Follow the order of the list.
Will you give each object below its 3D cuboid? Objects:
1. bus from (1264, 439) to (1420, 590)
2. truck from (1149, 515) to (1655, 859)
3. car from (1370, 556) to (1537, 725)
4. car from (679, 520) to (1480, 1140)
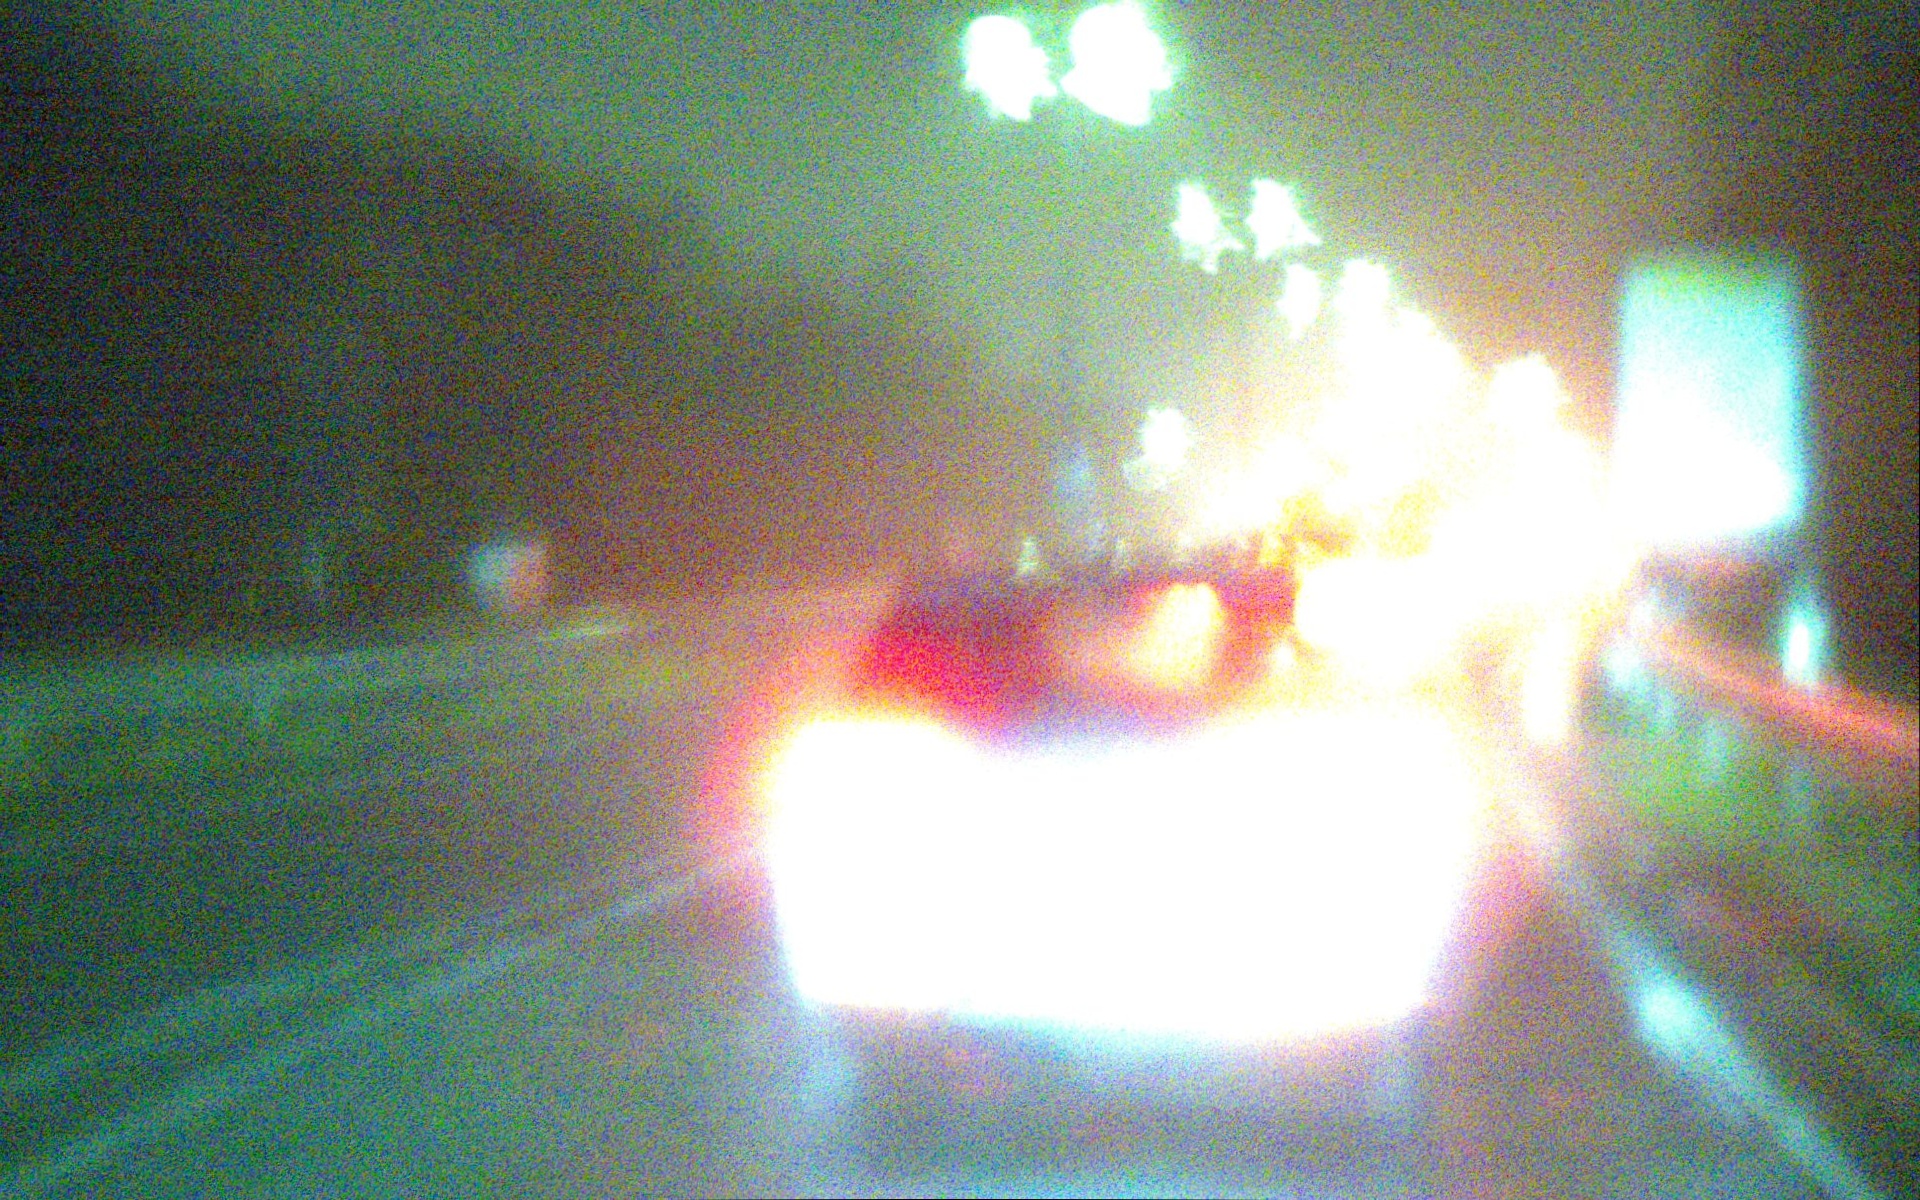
[{"bbox_3d":[8.523,-1.890,75.853,2.745,3.112,9.197,1,2,10],"label":"bus"},{"bbox_3d":[3.982,0.635,29.242,3.072,2.520,7.160,1,0,17],"label":"truck"},{"bbox_3d":[6.077,0.469,42.040,1.837,1.942,3.998,1,0,11],"label":"car"},{"bbox_3d":[0.526,0.539,10.217,1.945,1.486,3.715,-1,1,8],"label":"car"}]
